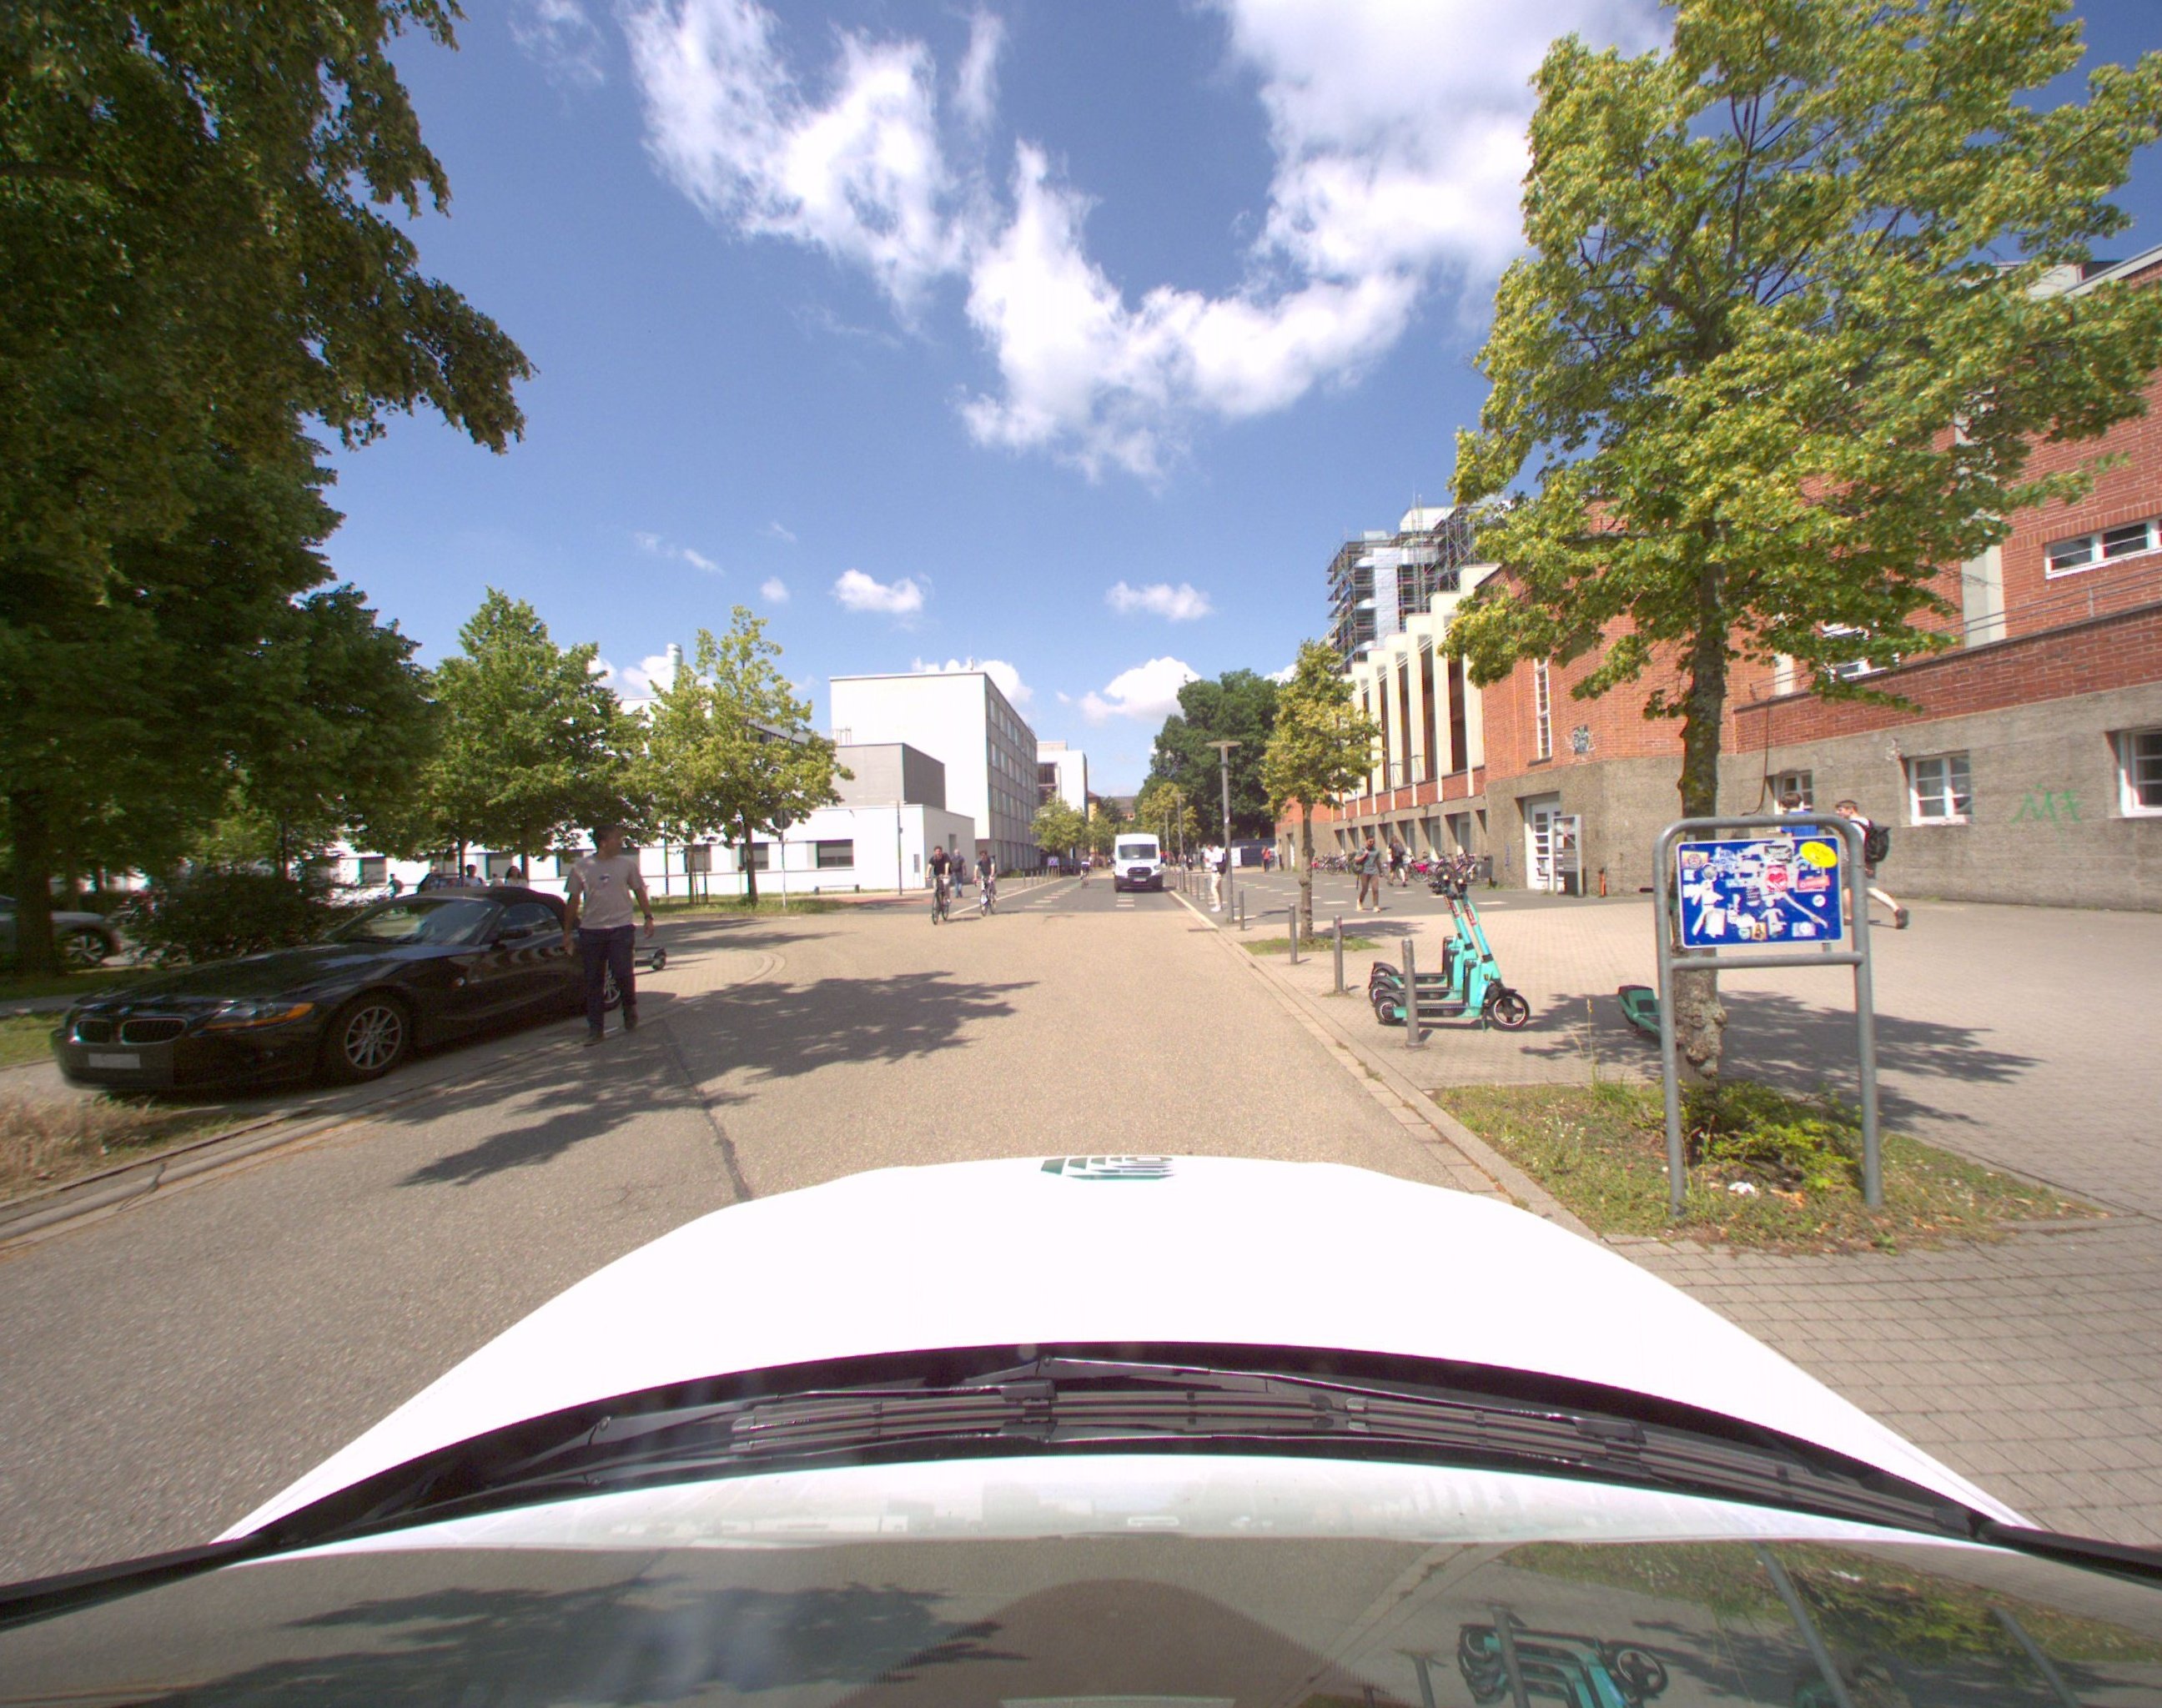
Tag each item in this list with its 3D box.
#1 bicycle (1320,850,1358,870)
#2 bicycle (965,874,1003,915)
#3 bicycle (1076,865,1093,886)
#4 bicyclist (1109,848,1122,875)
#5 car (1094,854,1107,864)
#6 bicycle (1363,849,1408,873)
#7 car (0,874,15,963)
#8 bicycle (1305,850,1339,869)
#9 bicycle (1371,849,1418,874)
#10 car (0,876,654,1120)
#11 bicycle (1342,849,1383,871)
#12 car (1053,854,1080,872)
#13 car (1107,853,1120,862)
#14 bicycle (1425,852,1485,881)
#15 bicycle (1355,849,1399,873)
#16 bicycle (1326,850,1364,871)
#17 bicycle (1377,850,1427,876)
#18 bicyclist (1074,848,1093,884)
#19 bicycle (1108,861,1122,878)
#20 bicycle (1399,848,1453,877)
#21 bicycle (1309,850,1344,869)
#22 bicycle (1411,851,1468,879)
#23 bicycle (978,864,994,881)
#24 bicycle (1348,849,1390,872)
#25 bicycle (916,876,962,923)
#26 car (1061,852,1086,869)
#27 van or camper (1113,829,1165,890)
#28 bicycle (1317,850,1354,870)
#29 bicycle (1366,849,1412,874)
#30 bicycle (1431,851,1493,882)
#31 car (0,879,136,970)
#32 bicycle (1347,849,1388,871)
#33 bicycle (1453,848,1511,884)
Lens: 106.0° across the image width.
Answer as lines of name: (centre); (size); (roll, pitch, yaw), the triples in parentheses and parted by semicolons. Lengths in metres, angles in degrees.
bicycle: (13.865, 0.331, 43.734); (1.802, 0.985, 0.560); (-4, 0, 2)
bicycle: (-2.510, 1.030, 21.275); (0.674, 0.965, 2.004); (-1, 0, 2)
bicycle: (0.174, 1.059, 40.020); (0.703, 0.993, 1.913); (0, 0, 4)
bicyclist: (2.263, 0.490, 53.369); (0.767, 1.756, 0.849); (2, 0, 3)
car: (3.339, 0.867, 138.503); (1.786, 1.530, 4.008); (-3, 0, 7)
bicycle: (13.874, 0.314, 37.167); (1.802, 0.985, 0.560); (-4, 0, 2)
car: (-22.663, 1.409, 14.248); (1.920, 1.768, 4.445); (-5, 1, 3)
bicycle: (14.131, 0.316, 47.764); (1.802, 0.985, 0.560); (-4, 0, 2)
bicycle: (13.824, 0.325, 35.978); (1.802, 0.985, 0.560); (-4, 0, 2)
car: (-5.610, 0.931, 6.879); (1.637, 1.300, 3.932); (-3, 0, 4)
bicycle: (14.139, 0.301, 40.943); (1.802, 0.985, 0.560); (-4, 0, 2)
car: (-1.280, 0.775, 72.122); (1.786, 1.530, 4.008); (-3, 0, 7)
car: (5.488, 0.575, 137.823); (1.786, 1.530, 4.008); (-3, 0, 7)
bicycle: (13.125, 0.424, 28.637); (1.802, 0.912, 0.560); (-3, 0, 2)
bicycle: (13.956, 0.318, 38.403); (1.802, 0.985, 0.560); (-4, 0, 2)
bicycle: (13.905, 0.327, 42.902); (1.802, 0.985, 0.560); (-4, 0, 2)
bicycle: (13.327, 0.368, 33.805); (1.802, 0.985, 0.560); (-4, 0, 2)
bicyclist: (0.126, 0.569, 39.842); (0.714, 1.662, 1.096); (-4, 0, 4)
bicycle: (2.226, 1.012, 53.271); (0.805, 1.002, 2.126); (-2, 0, 4)
bicycle: (13.536, 0.333, 31.978); (1.802, 0.985, 0.560); (-4, 0, 2)
bicycle: (14.091, 0.325, 46.772); (1.802, 0.985, 0.560); (-4, 0, 2)
bicycle: (13.244, 0.404, 30.079); (1.802, 0.912, 0.560); (-4, 0, 2)
bicycle: (-5.893, 1.127, 50.393); (0.520, 0.985, 1.636); (-4, 0, 8)
bicycle: (14.003, 0.319, 39.614); (1.802, 0.985, 0.560); (-4, 0, 2)
bicycle: (-3.270, 1.034, 18.952); (0.674, 0.965, 2.003); (-1, 0, 1)
car: (-0.693, 0.644, 79.523); (1.786, 1.530, 4.008); (-3, 0, 7)
van or camper: (2.435, 0.261, 35.114); (1.986, 2.446, 4.570); (0, -1, 1)
bicycle: (13.887, 0.333, 44.440); (1.802, 0.985, 0.560); (-4, 0, 2)
bicycle: (13.824, 0.322, 36.581); (1.802, 0.985, 0.560); (-4, 0, 2)
bicycle: (13.000, 0.421, 27.825); (1.802, 0.912, 0.560); (-3, 0, 2)
car: (-20.043, 1.380, 14.103); (1.920, 1.516, 4.445); (-5, 1, 3)
bicycle: (14.187, 0.309, 40.347); (1.802, 0.985, 0.560); (-4, 0, 2)
bicycle: (12.746, 0.378, 25.900); (1.529, 1.033, 0.560); (-3, 0, 2)
